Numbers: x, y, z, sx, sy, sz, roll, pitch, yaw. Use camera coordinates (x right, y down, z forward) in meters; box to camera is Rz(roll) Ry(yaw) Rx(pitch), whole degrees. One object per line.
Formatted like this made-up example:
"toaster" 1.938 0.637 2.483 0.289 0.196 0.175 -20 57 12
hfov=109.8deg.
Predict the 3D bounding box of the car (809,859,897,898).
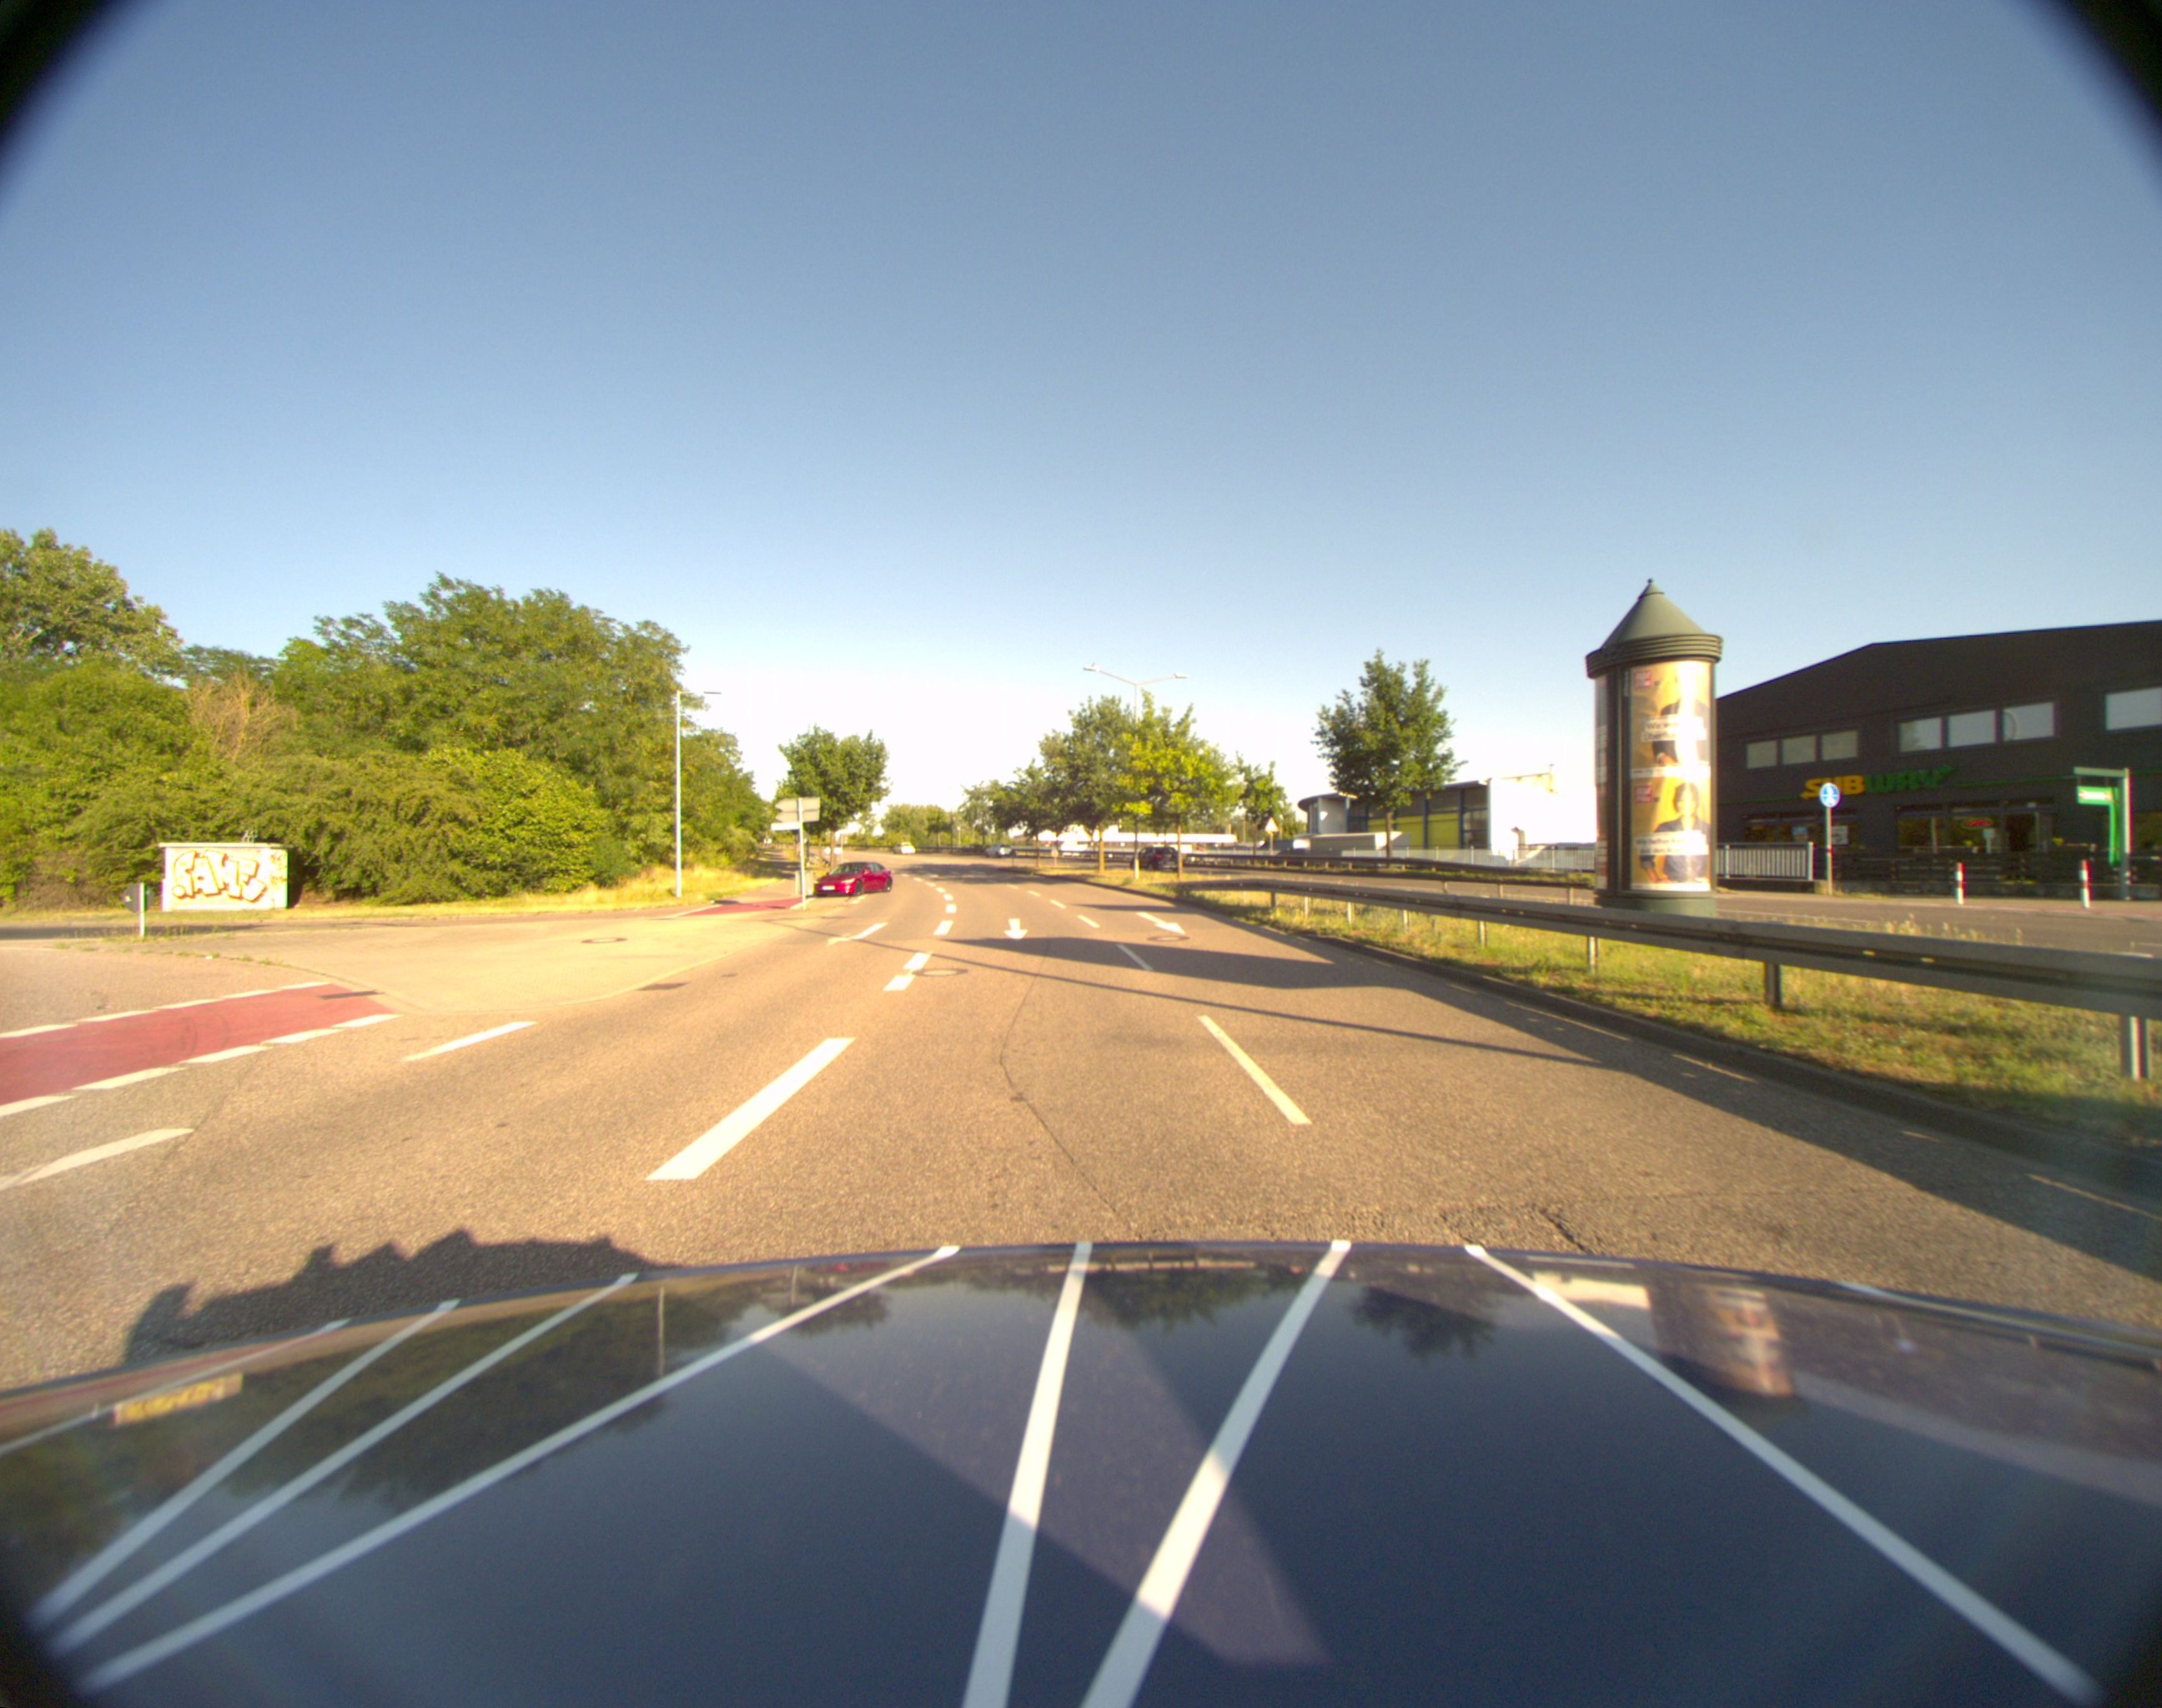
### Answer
"car" -9.668 0.997 32.594 1.780 1.433 4.363 -3 0 10

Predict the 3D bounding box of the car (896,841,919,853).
"car" -22.292 -0.876 97.507 1.749 1.454 3.756 -3 2 -31

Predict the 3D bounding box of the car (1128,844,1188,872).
"car" 4.500 0.190 45.186 1.853 1.594 4.386 -1 1 -19

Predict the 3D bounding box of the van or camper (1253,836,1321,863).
"van or camper" 13.849 -0.355 51.313 2.002 1.676 4.951 -1 2 -19

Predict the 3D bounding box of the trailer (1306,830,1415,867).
"trailer" 16.160 -0.373 44.415 2.429 1.959 6.594 -1 2 -18

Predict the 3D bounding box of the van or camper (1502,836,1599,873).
"van or camper" 26.055 0.003 42.323 4.220 1.915 2.002 1 3 17

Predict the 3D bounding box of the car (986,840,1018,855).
"car" -8.370 -0.703 80.459 1.680 1.454 4.094 -2 2 -32
